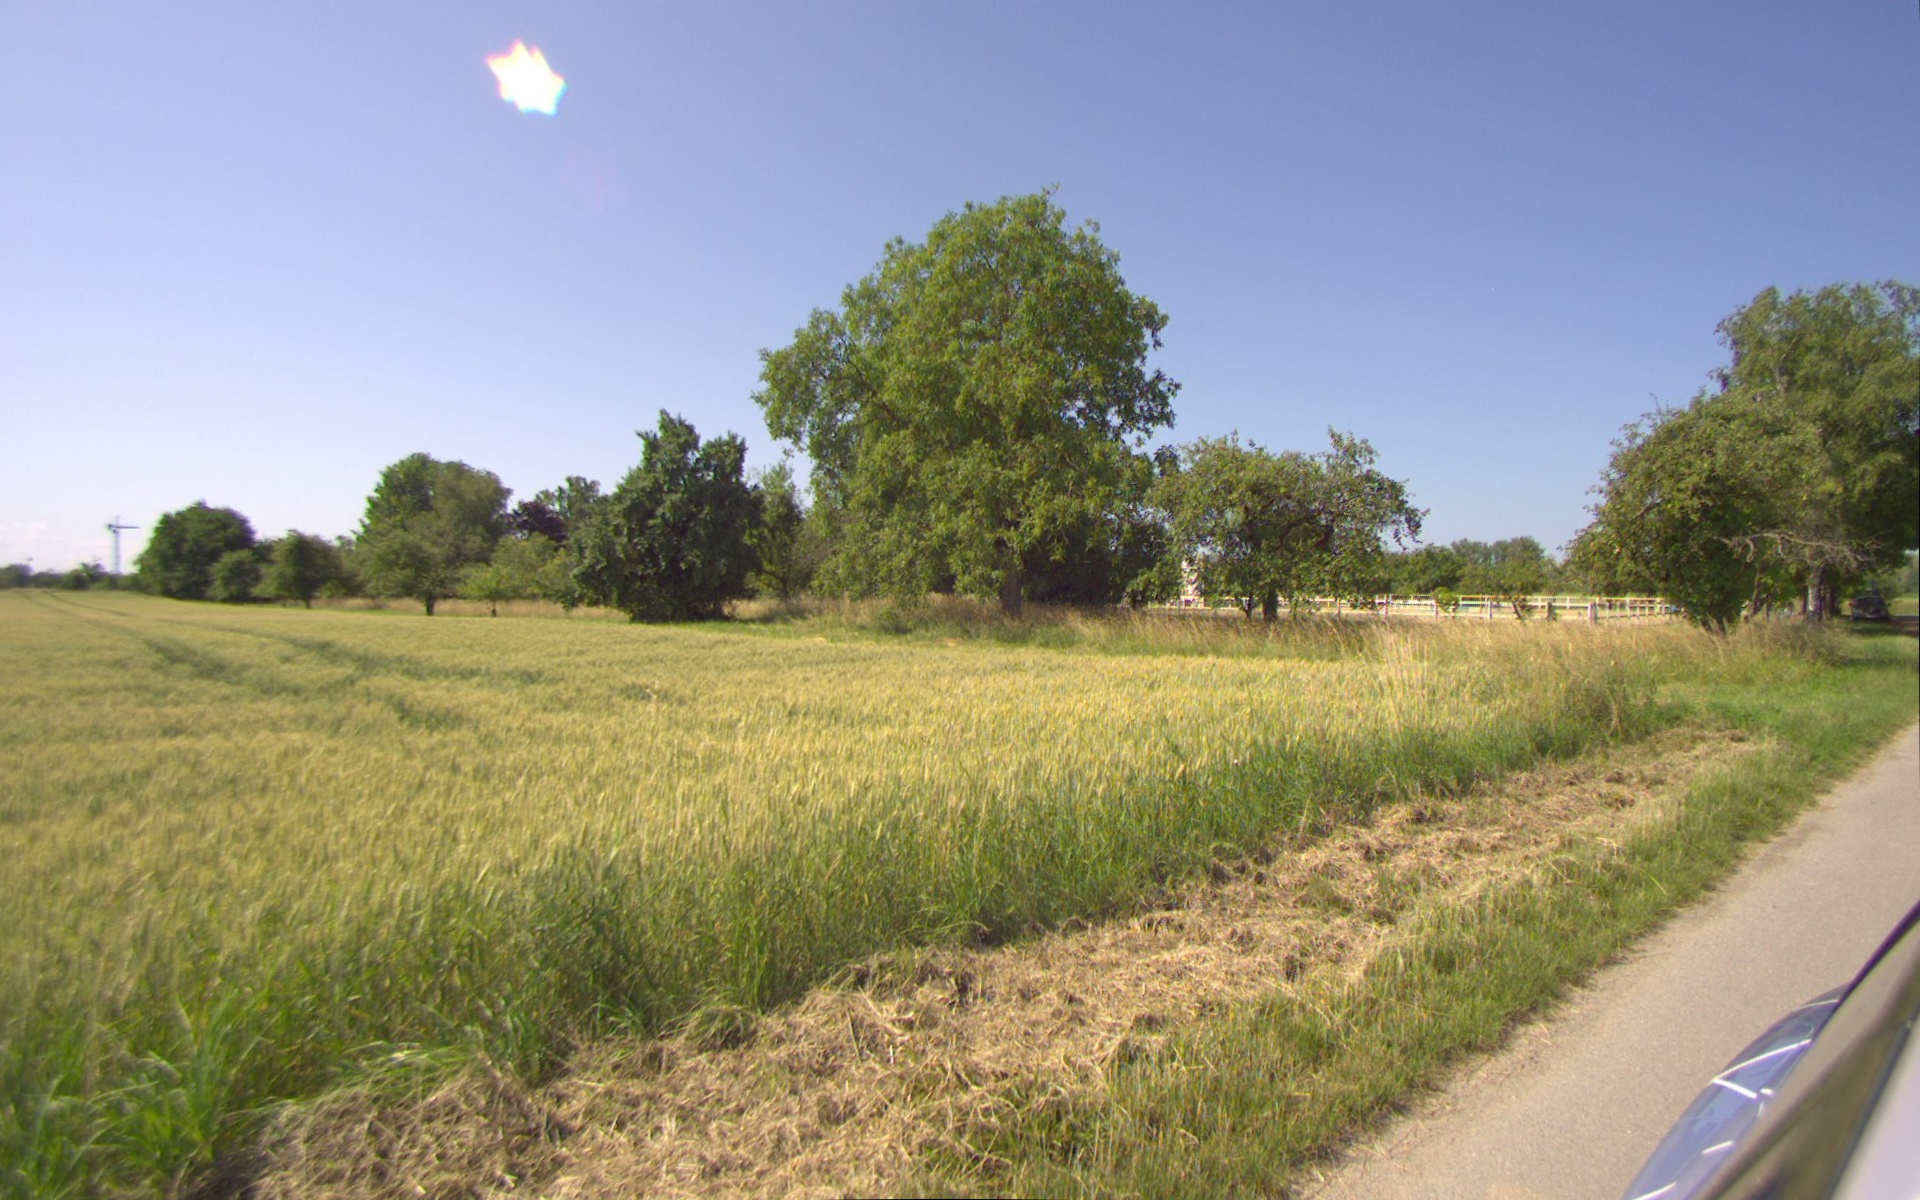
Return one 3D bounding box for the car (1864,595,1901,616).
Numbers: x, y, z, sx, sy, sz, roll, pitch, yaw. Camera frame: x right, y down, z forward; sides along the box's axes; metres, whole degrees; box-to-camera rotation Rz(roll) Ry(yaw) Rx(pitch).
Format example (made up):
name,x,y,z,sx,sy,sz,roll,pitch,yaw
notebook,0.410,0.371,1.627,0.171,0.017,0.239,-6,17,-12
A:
name,x,y,z,sx,sy,sz,roll,pitch,yaw
car,60.598,0.346,66.520,1.716,1.337,3.687,1,0,41
